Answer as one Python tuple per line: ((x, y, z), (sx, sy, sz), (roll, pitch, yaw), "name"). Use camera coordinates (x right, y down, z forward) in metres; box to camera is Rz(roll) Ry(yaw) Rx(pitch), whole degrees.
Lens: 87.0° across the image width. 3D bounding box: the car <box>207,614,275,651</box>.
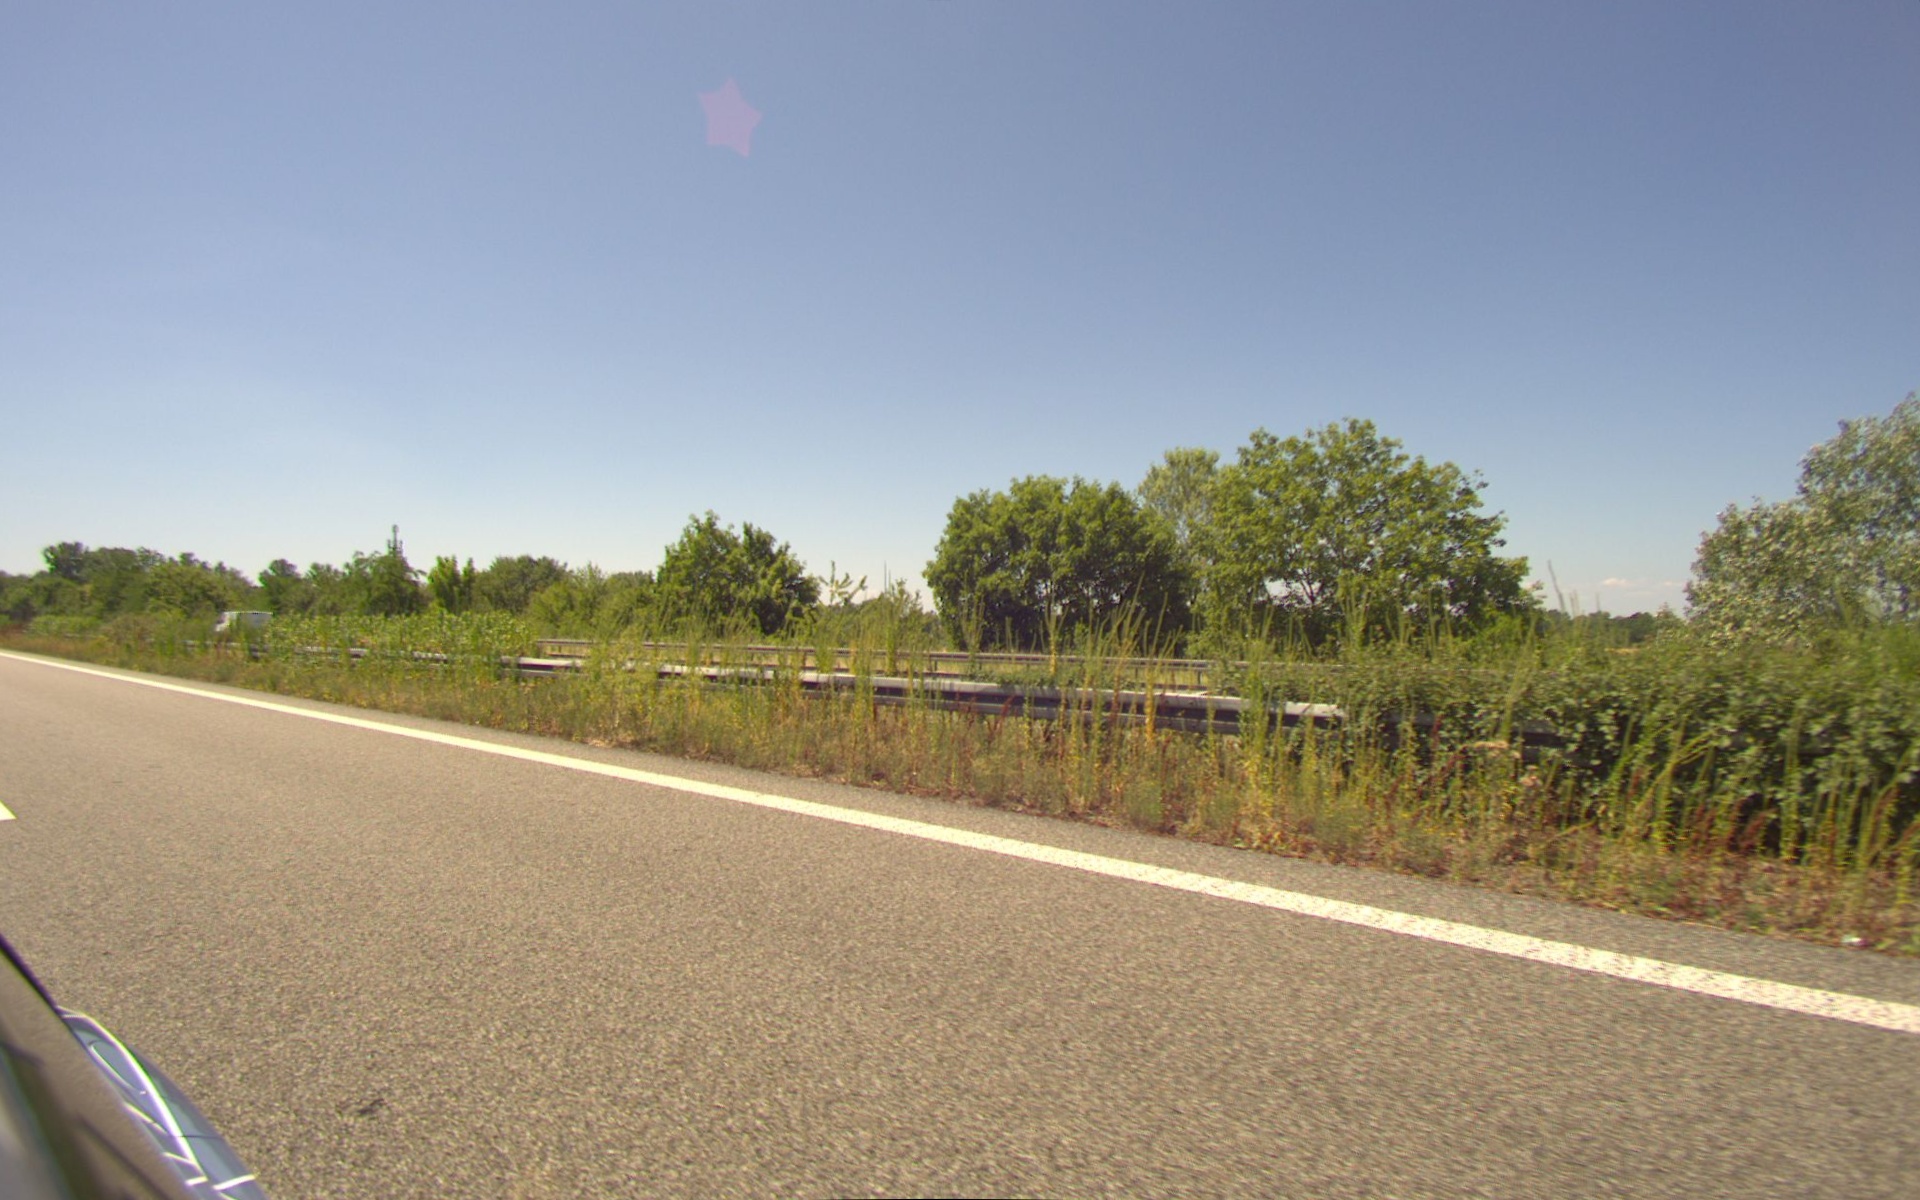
((-41.485, 1.848, 58.324), (5.269, 2.005, 1.973), (-1, 0, 41), "car")
